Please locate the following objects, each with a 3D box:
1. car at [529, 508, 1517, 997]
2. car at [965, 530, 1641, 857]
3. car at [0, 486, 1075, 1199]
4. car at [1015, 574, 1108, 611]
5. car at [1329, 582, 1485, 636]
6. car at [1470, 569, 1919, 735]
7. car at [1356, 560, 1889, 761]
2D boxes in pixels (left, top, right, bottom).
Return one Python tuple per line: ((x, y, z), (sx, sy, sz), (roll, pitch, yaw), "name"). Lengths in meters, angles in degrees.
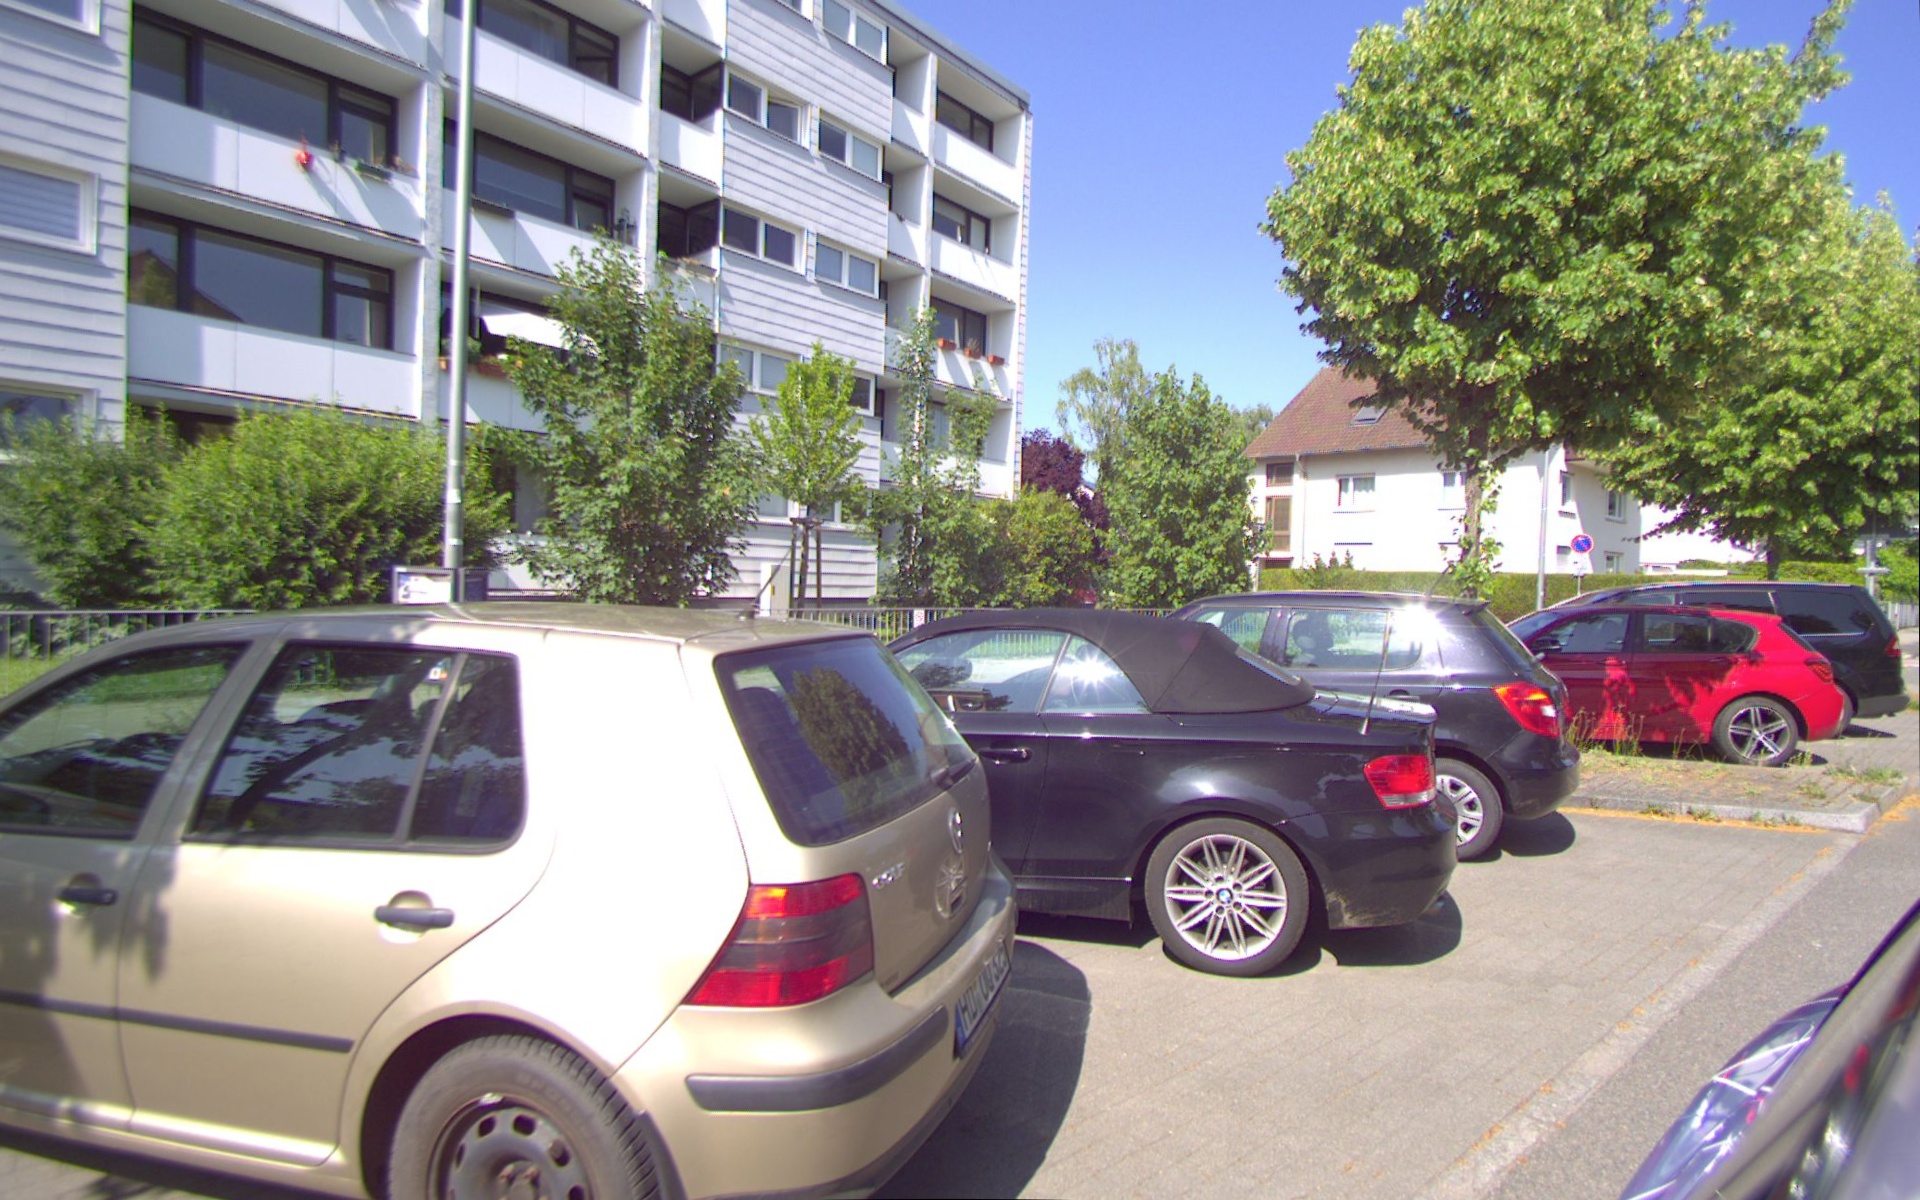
((0.210, 0.483, 4.867), (3.941, 1.660, 1.745), (2, 0, 14), "car")
((2.190, 0.405, 6.942), (3.968, 1.660, 1.781), (2, 1, 31), "car")
((-1.770, 0.582, 2.989), (3.945, 1.660, 1.744), (2, 1, 17), "car")
((4.405, -0.344, 44.240), (1.619, 1.473, 3.995), (1, 1, -41), "car")
((14.078, 0.258, 32.058), (1.778, 1.415, 4.125), (4, 0, -40), "car")
((8.591, 0.512, 12.120), (4.064, 1.660, 2.034), (2, 1, 17), "car")
((6.186, 0.485, 9.996), (3.939, 1.660, 1.873), (1, 1, 13), "car")
